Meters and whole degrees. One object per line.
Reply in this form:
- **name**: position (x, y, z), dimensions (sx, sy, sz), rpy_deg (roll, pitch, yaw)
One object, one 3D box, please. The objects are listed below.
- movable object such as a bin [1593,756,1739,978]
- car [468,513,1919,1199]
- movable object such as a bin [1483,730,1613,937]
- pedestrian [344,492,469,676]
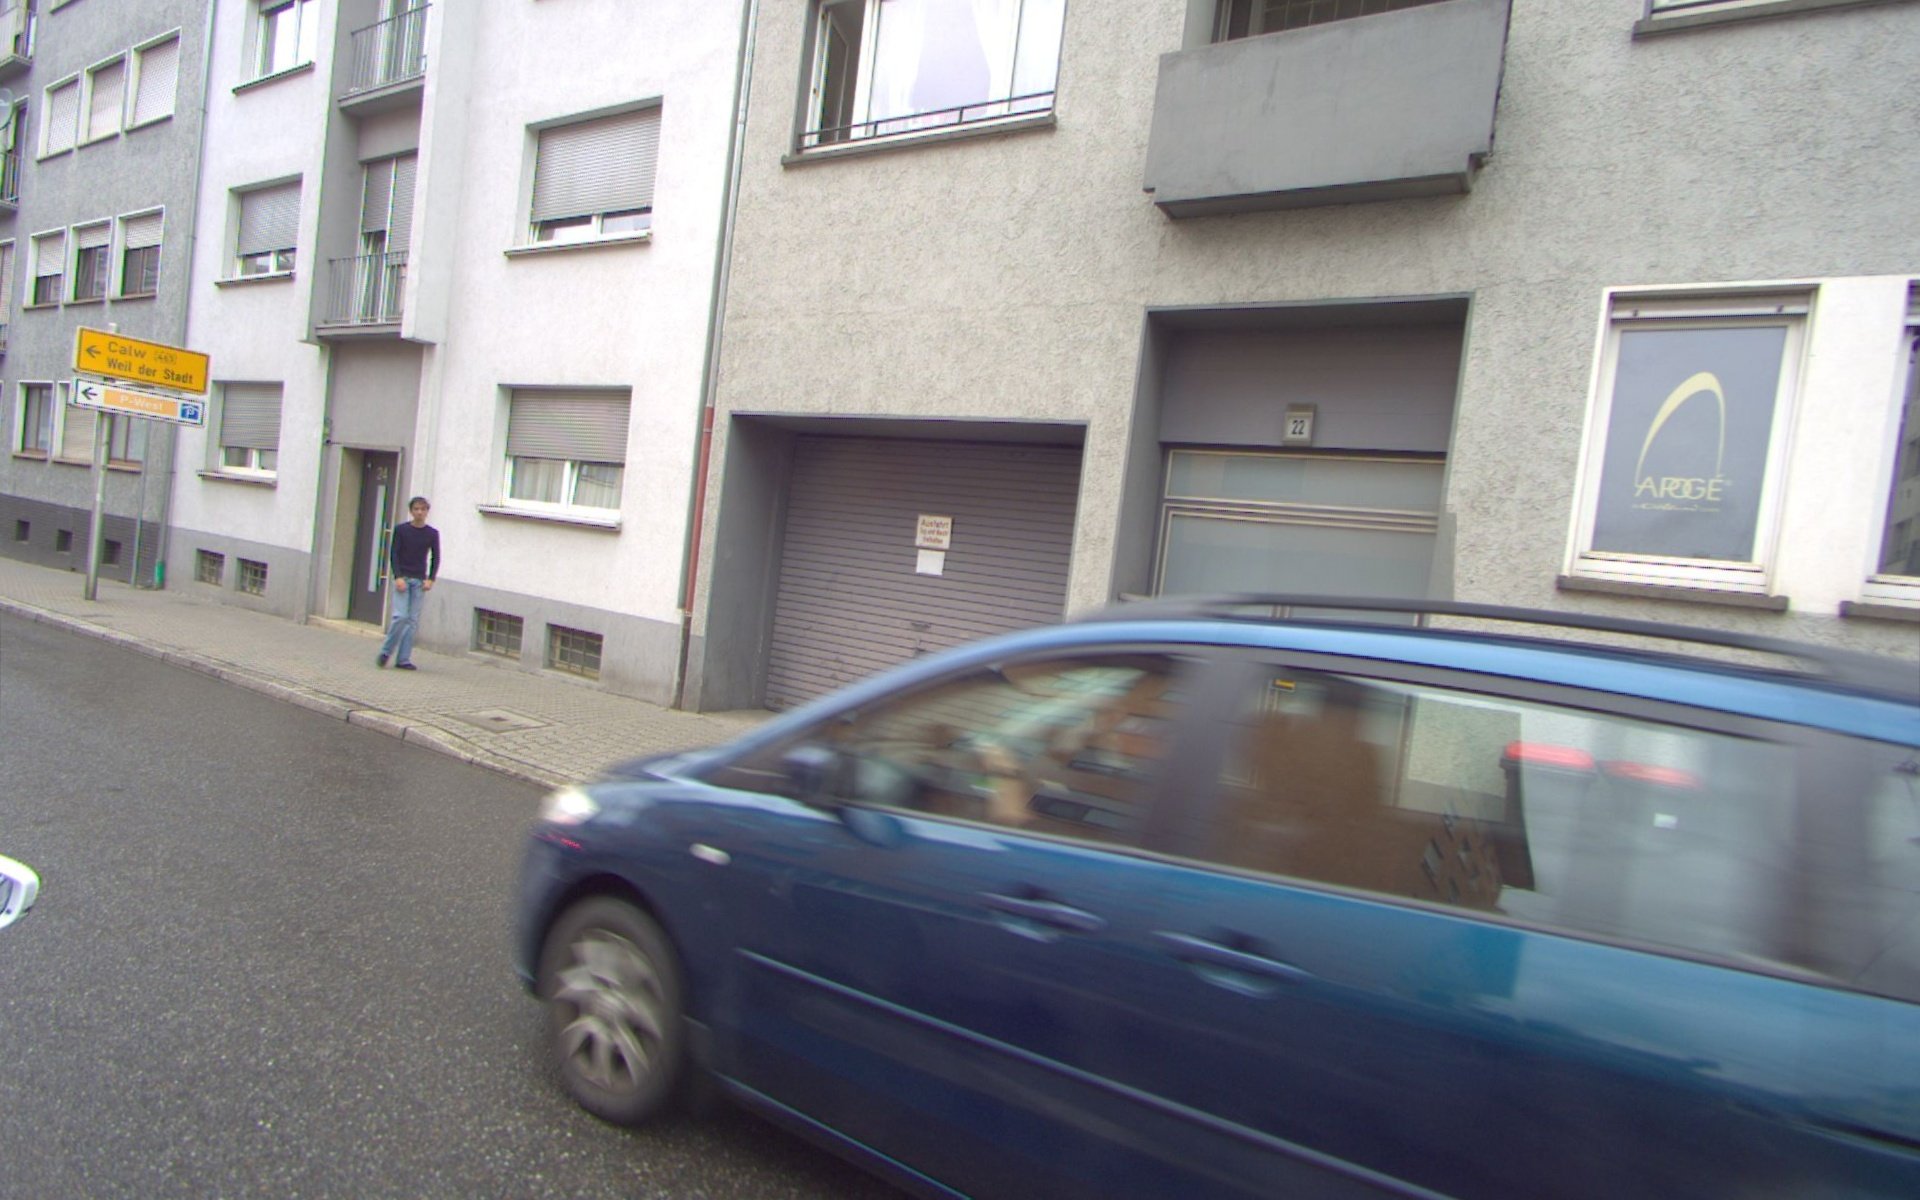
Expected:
- **movable object such as a bin**: position (3.725, 1.383, 5.351), dimensions (0.507, 0.963, 0.539), rpy_deg (7, 4, 32)
- **car**: position (0.767, 0.821, 2.724), dimensions (4.144, 1.625, 1.810), rpy_deg (7, -1, 34)
- **movable object such as a bin**: position (3.297, 1.276, 5.647), dimensions (0.507, 0.969, 0.539), rpy_deg (7, 4, 32)
- **pedestrian**: position (-5.826, -0.181, 10.578), dimensions (1.039, 1.802, 0.643), rpy_deg (7, 4, 31)
